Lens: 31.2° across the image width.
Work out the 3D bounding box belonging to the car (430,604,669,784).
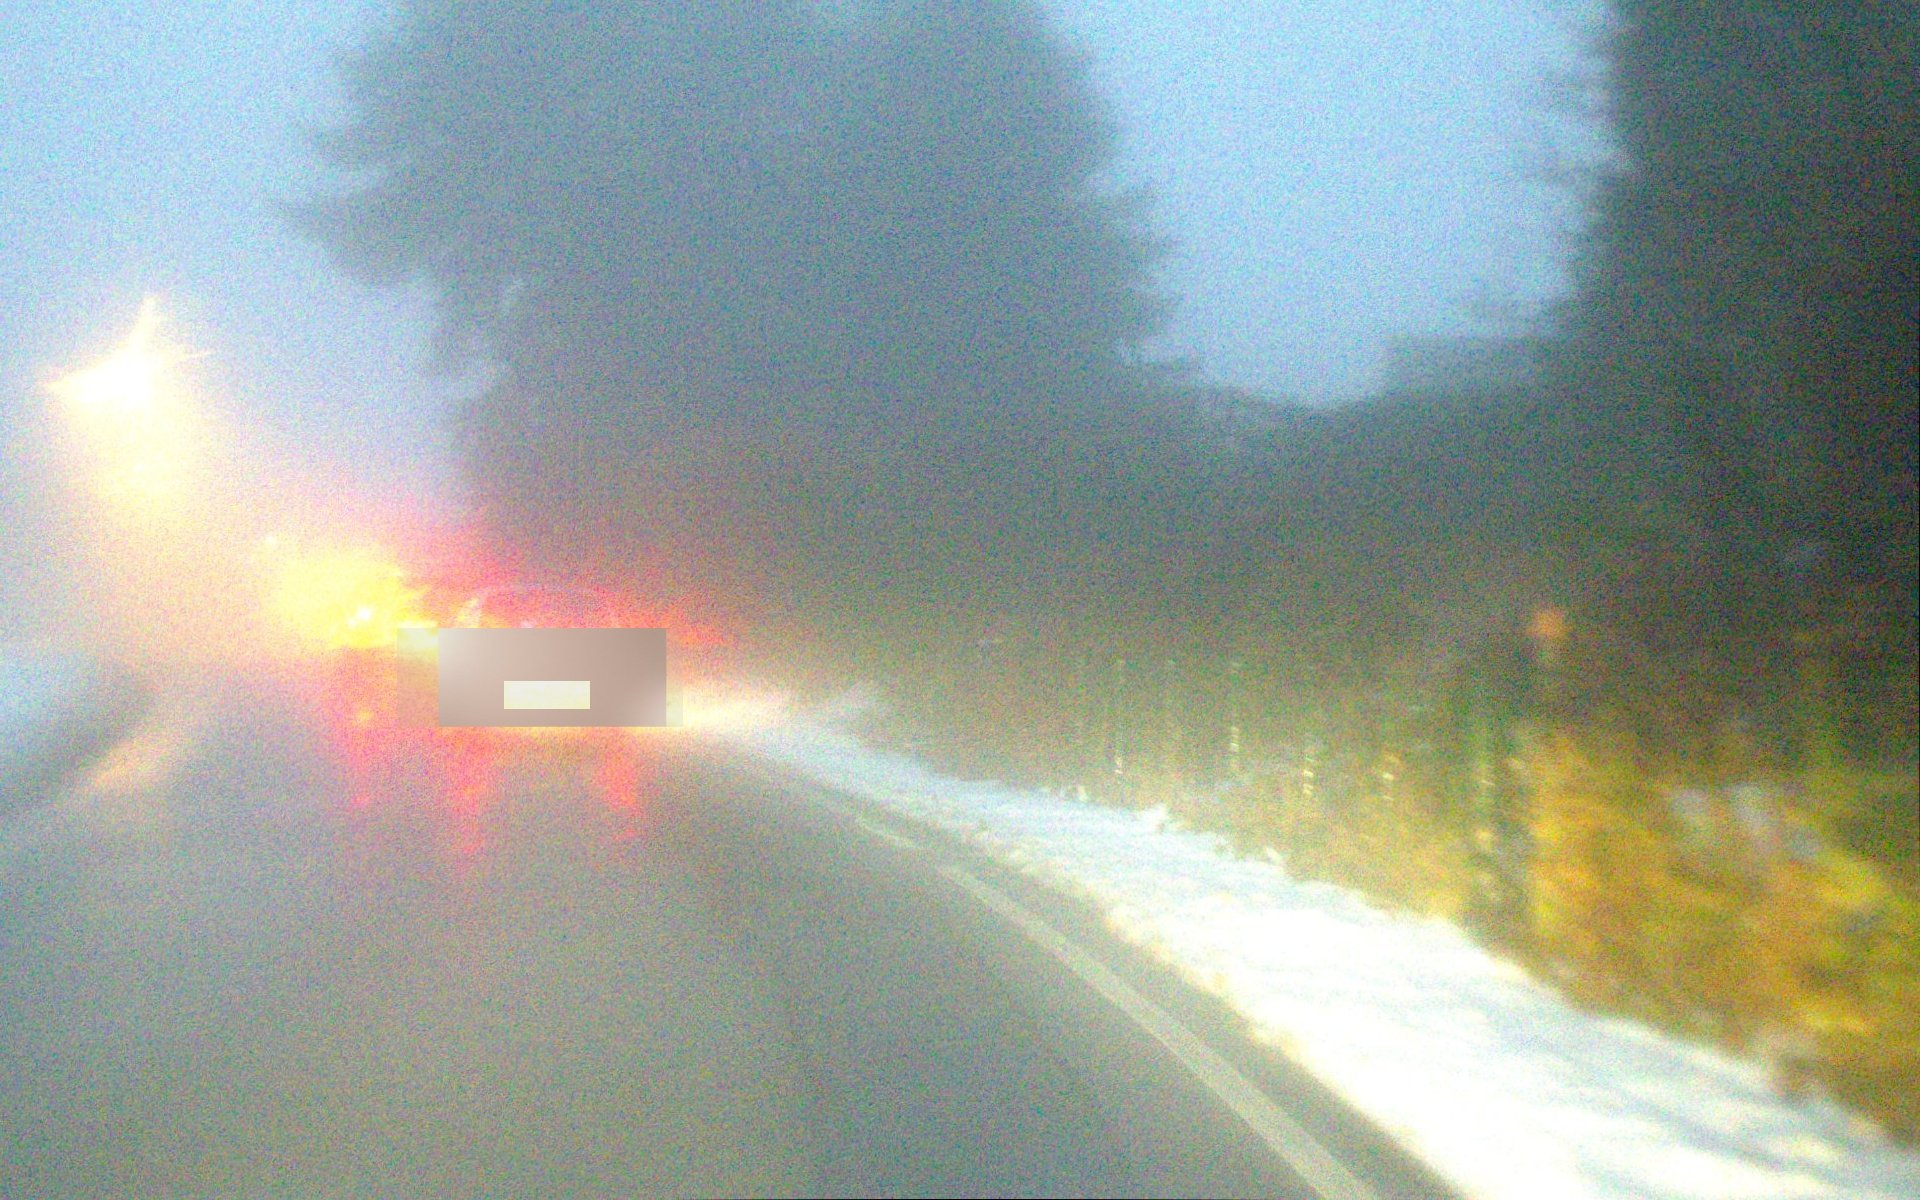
[{"bbox_3d":[-3.726,0.802,30.937,1.993,1.503,4.001,0,0,-8],"label":"car"}]

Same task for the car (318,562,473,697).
[{"bbox_3d":[-7.633,0.393,46.676,1.993,1.744,4.001,0,0,-8],"label":"car"}]
